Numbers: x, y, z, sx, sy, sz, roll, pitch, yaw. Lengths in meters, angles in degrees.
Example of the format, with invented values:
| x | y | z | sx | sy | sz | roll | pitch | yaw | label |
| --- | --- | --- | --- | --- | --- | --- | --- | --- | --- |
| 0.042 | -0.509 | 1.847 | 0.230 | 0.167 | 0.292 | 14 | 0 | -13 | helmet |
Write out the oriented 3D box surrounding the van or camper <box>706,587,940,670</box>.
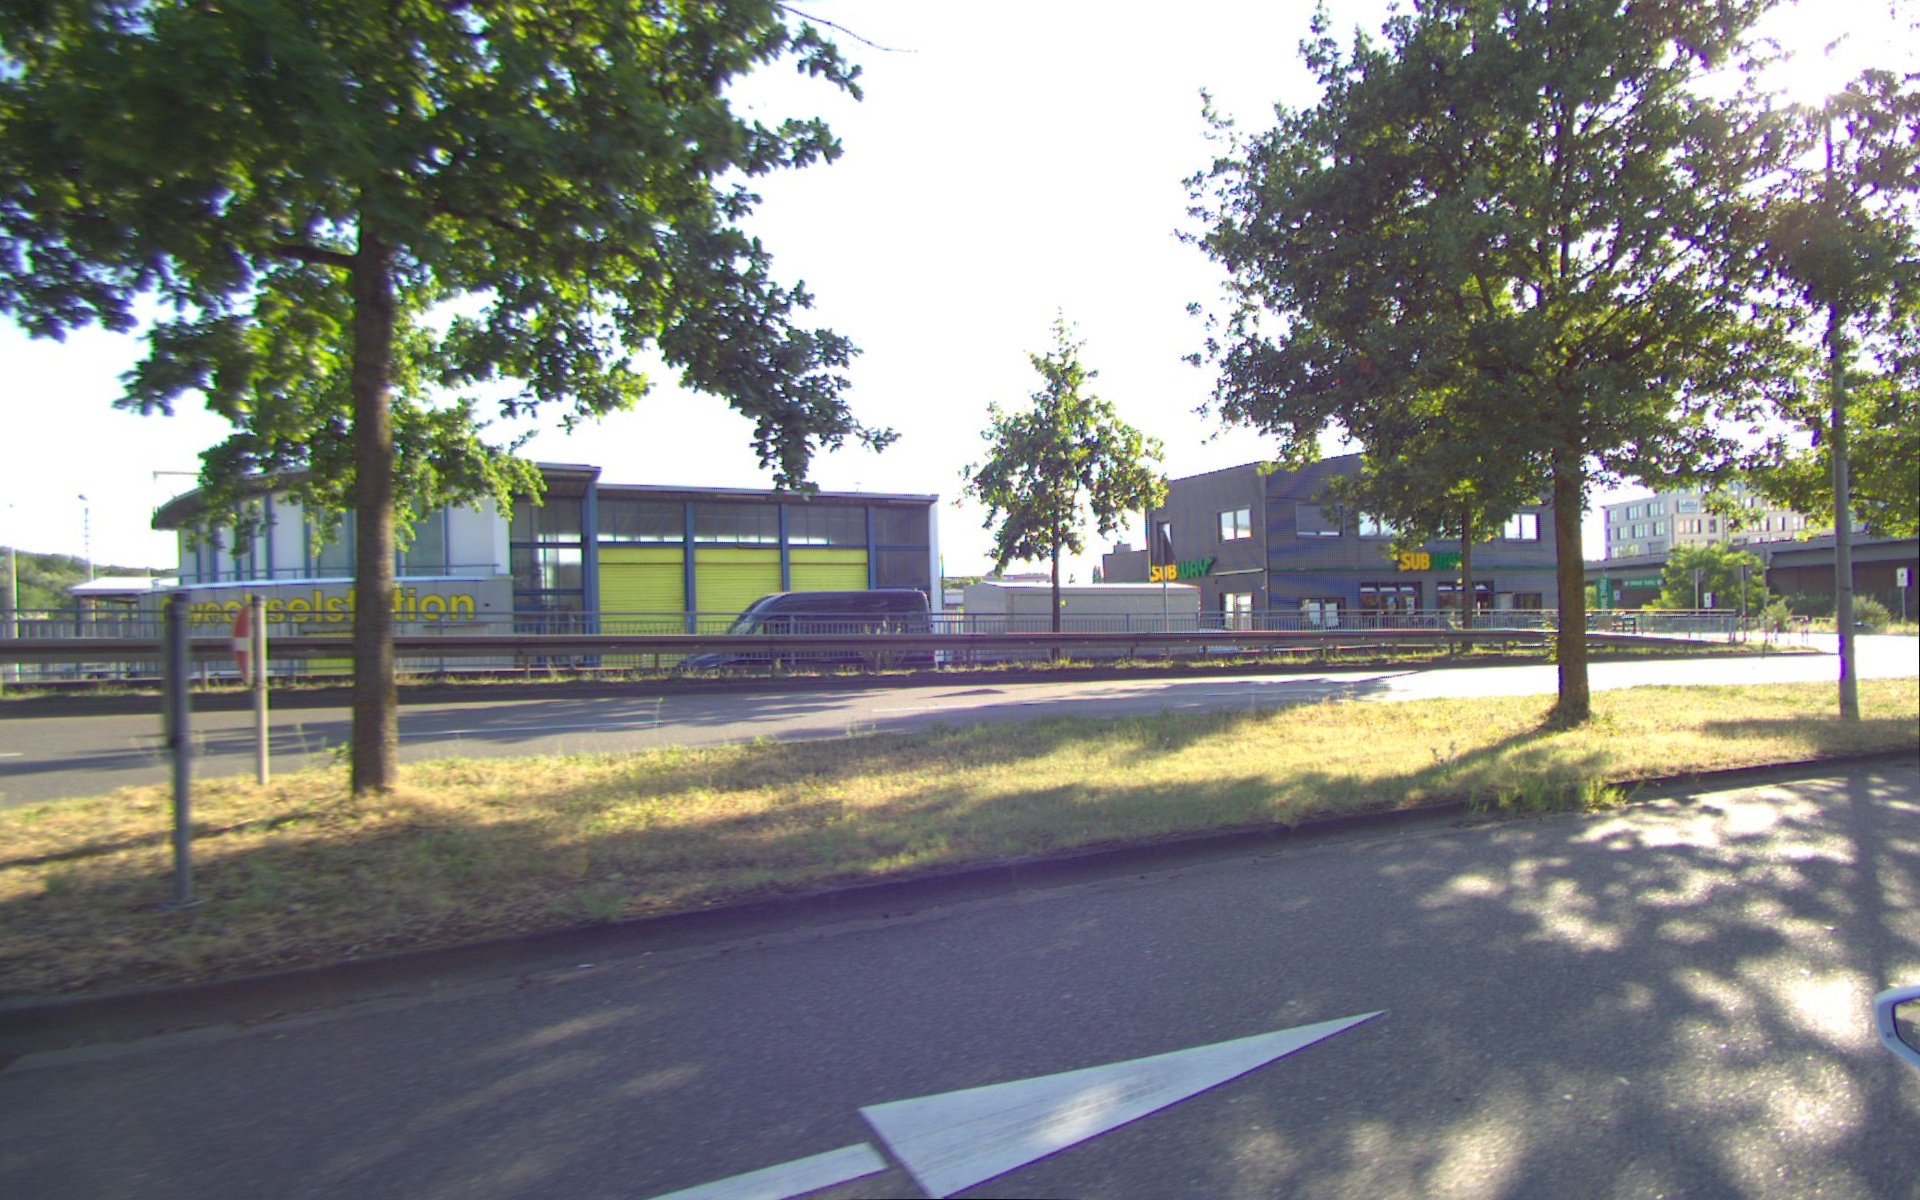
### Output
| x | y | z | sx | sy | sz | roll | pitch | yaw | label |
| --- | --- | --- | --- | --- | --- | --- | --- | --- | --- |
| -3.078 | 0.642 | 22.845 | 4.899 | 1.708 | 1.985 | 1 | -1 | -29 | van or camper |

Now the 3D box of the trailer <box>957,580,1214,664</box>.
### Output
| x | y | z | sx | sy | sz | roll | pitch | yaw | label |
| --- | --- | --- | --- | --- | --- | --- | --- | --- | --- |
| 3.363 | 0.585 | 26.423 | 6.521 | 1.996 | 2.410 | 1 | -1 | -28 | trailer |
